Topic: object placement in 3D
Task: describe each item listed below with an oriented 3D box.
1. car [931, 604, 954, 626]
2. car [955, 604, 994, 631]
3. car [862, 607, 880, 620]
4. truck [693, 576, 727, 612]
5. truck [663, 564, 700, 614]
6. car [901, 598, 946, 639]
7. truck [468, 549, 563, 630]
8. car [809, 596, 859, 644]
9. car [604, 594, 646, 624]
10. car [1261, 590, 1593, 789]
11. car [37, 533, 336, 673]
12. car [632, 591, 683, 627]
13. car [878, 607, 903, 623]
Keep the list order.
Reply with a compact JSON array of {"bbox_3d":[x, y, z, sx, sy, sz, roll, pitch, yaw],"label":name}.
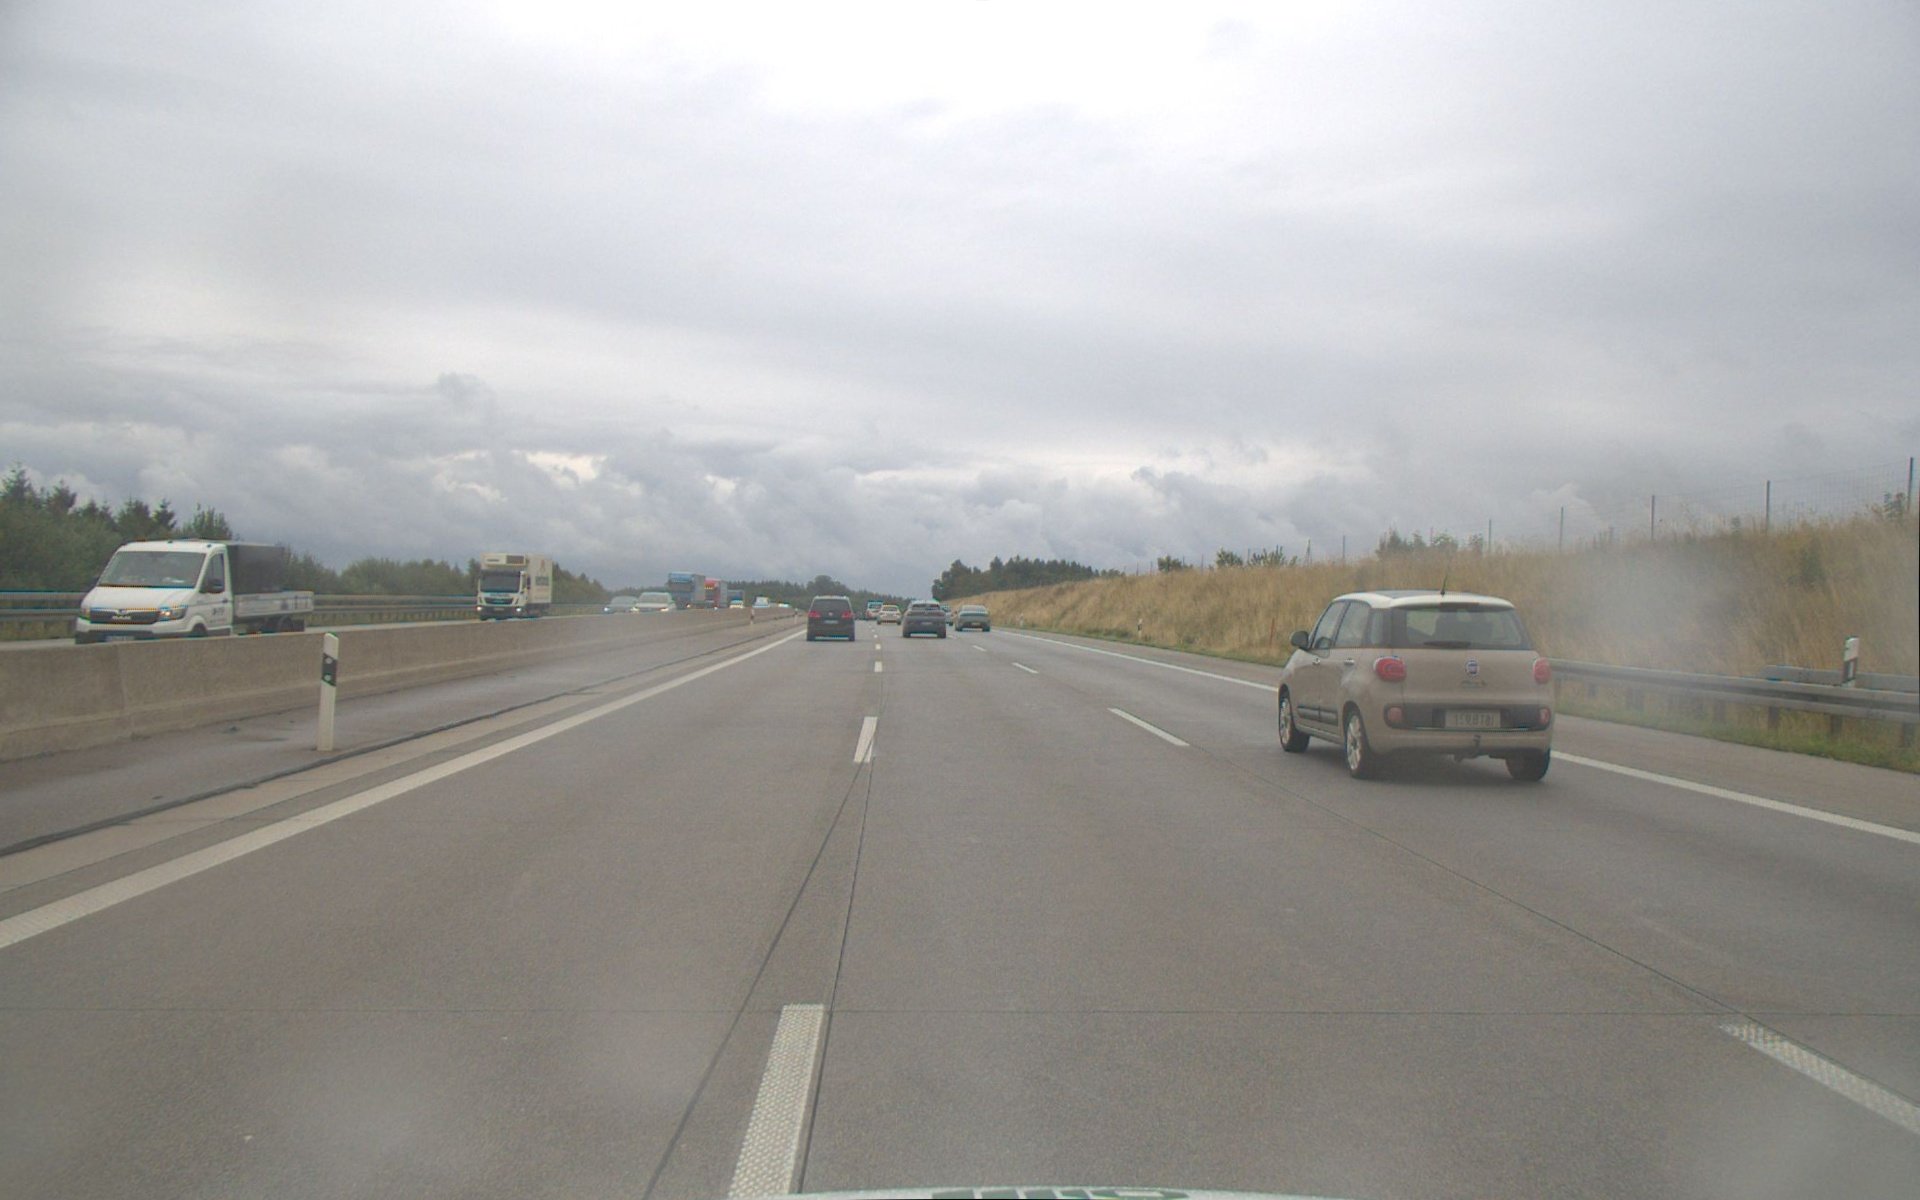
[{"bbox_3d":[-1.358,1.142,126.424,1.457,1.496,3.501,4,0,-4],"label":"car"},{"bbox_3d":[0.811,0.983,95.240,1.974,1.471,4.742,1,0,-2],"label":"car"},{"bbox_3d":[-9.406,1.437,175.091,1.761,1.243,3.999,1,0,-1],"label":"car"},{"bbox_3d":[-30.103,-0.737,199.556,3.401,4.255,6.488,1,0,-3],"label":"truck"},{"bbox_3d":[-26.994,-1.041,160.528,2.870,4.758,5.228,1,0,-4],"label":"truck"},{"bbox_3d":[-1.651,0.794,73.077,1.860,1.719,5.263,1,0,-3],"label":"car"},{"bbox_3d":[-22.892,-0.506,85.661,2.841,3.931,8.894,1,0,-3],"label":"truck"},{"bbox_3d":[-4.825,0.759,63.711,1.749,1.777,3.913,1,0,-2],"label":"car"},{"bbox_3d":[-18.707,0.489,92.518,1.597,1.594,4.408,1,0,-3],"label":"car"},{"bbox_3d":[4.319,0.750,16.086,1.749,1.633,4.568,1,0,-2],"label":"car"},{"bbox_3d":[-15.130,0.058,33.095,2.568,2.442,7.514,1,0,-2],"label":"car"},{"bbox_3d":[-14.208,0.408,77.876,1.707,1.594,4.497,1,0,-2],"label":"car"},{"bbox_3d":[-5.254,1.109,125.965,1.761,1.143,3.999,1,0,-1],"label":"car"}]
